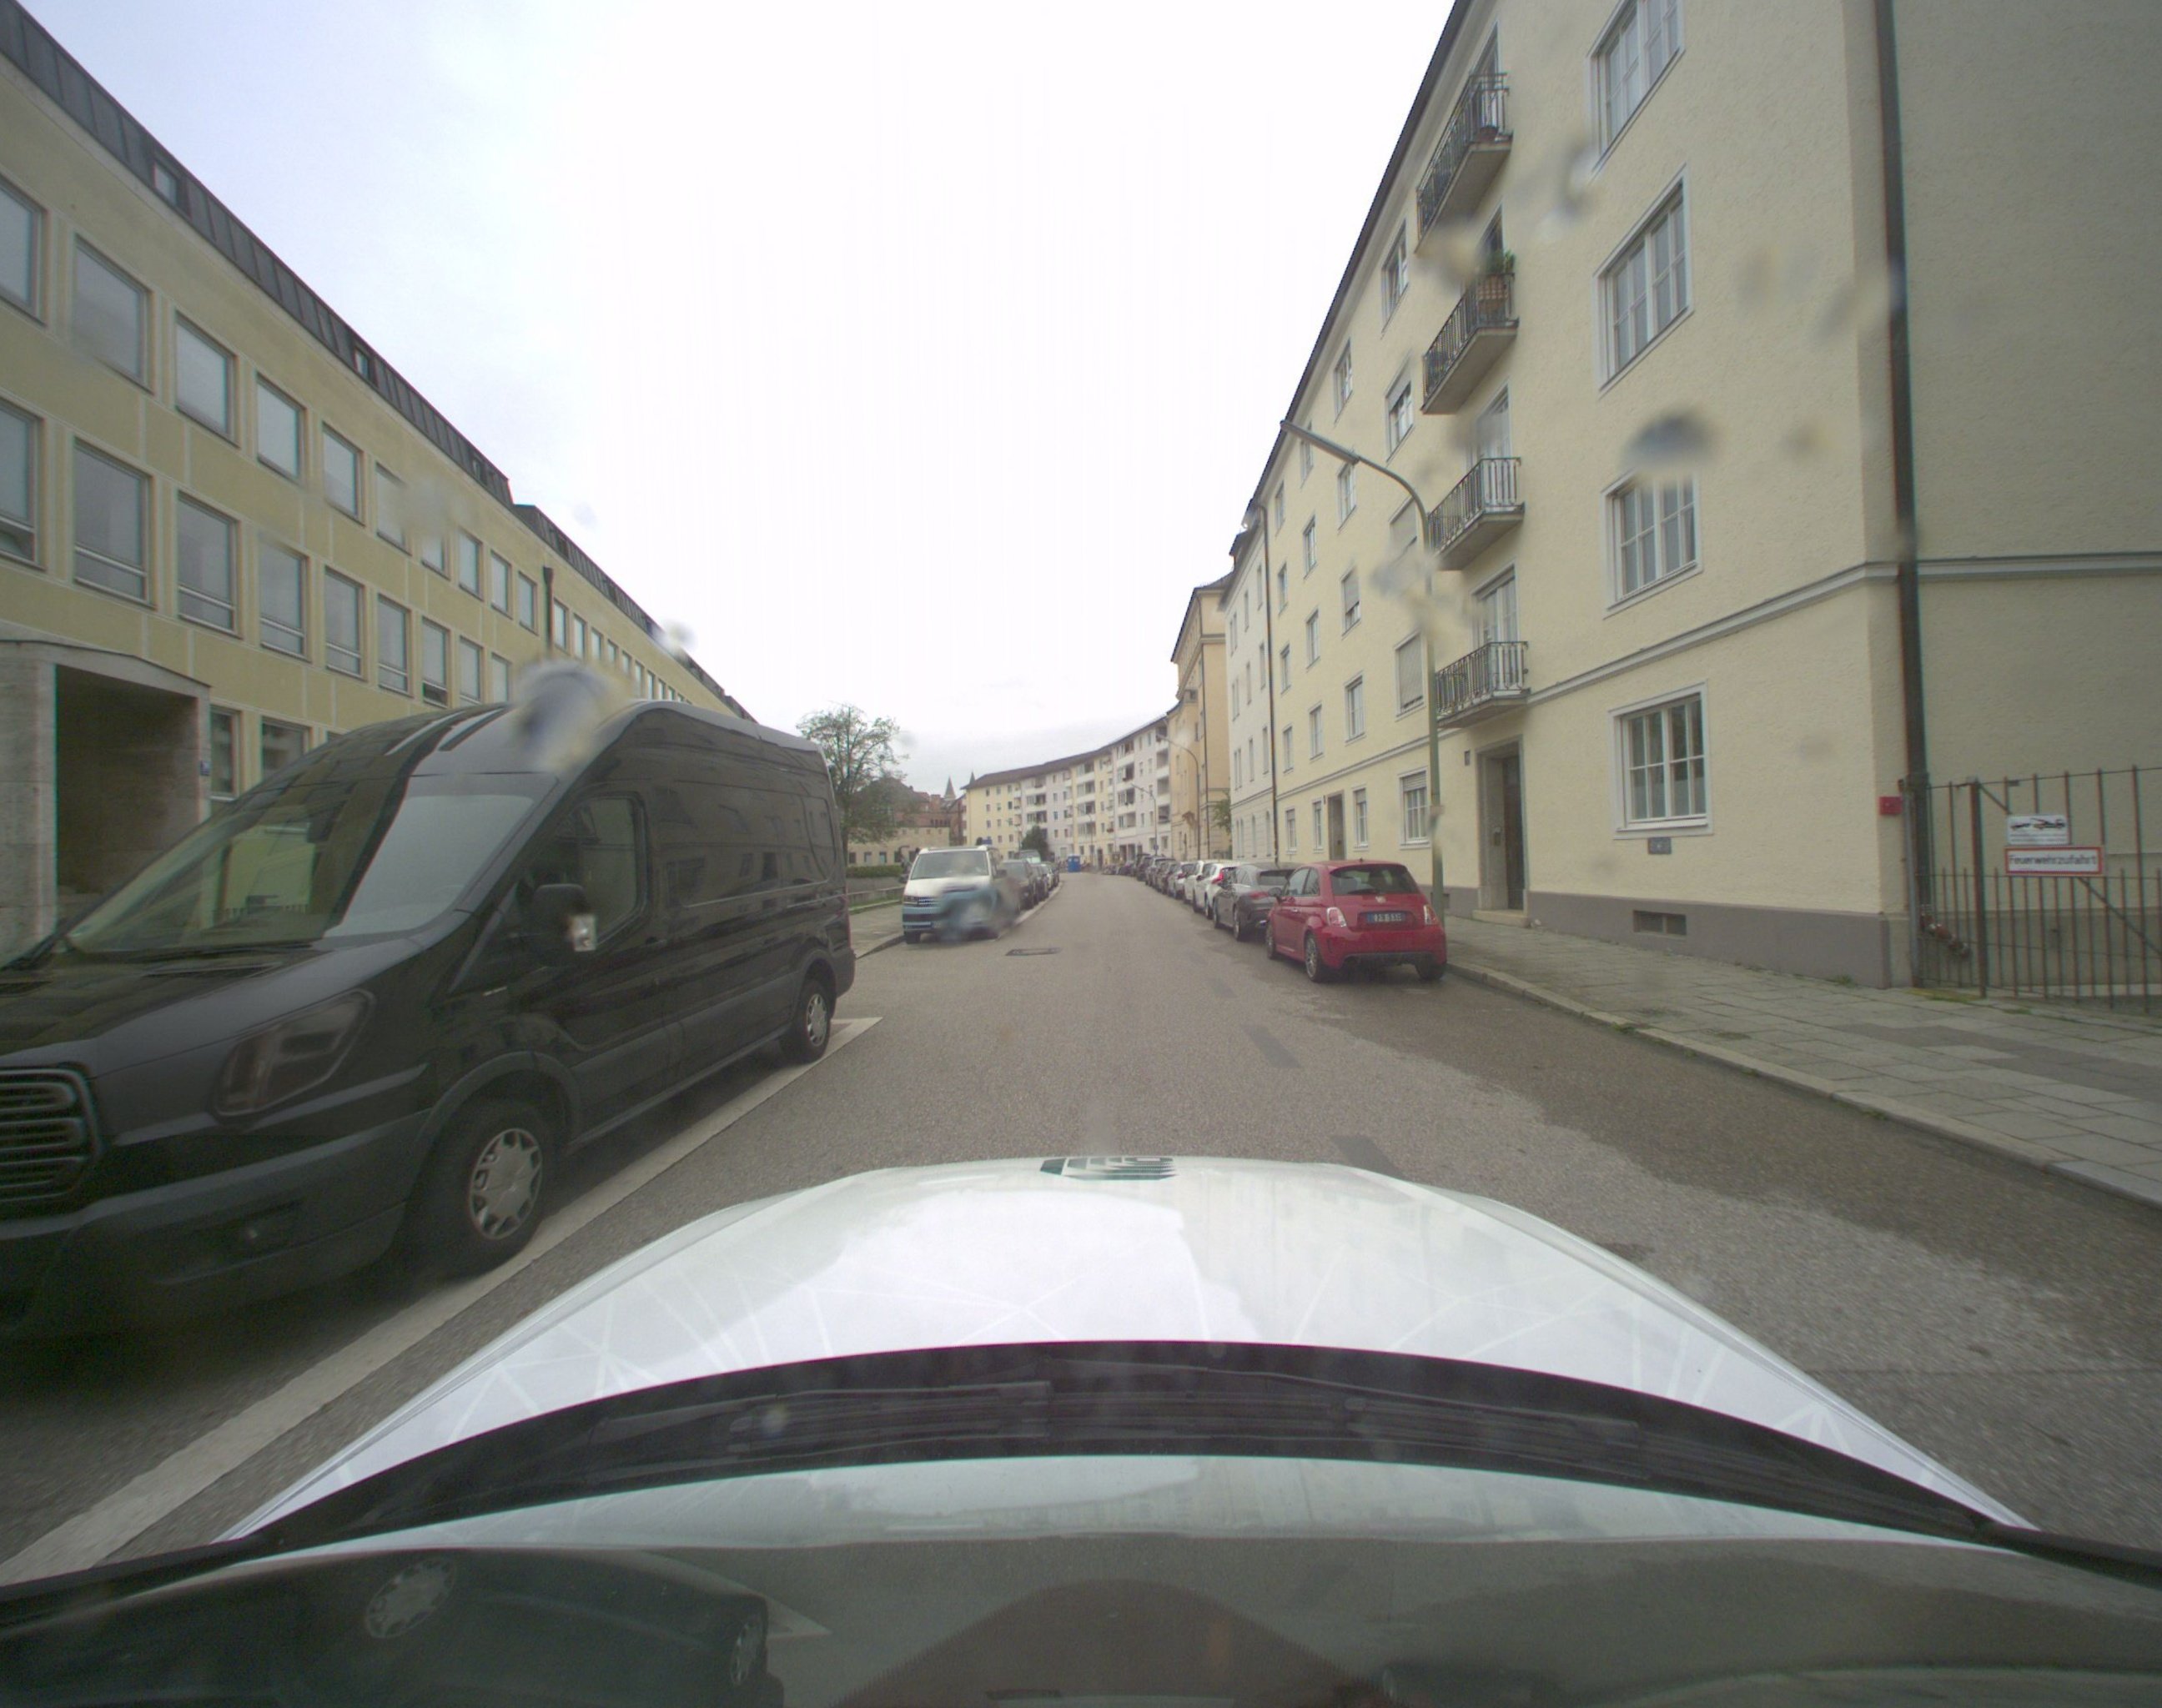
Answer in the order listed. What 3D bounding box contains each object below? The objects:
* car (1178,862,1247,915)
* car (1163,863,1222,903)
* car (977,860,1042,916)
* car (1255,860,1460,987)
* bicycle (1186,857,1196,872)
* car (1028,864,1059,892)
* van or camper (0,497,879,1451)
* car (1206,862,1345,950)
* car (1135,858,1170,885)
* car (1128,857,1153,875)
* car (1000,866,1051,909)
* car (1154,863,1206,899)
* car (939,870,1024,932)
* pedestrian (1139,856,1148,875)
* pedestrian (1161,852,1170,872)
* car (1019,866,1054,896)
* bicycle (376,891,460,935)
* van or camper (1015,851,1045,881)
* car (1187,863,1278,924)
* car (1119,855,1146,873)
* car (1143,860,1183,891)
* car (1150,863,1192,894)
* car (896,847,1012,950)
[{"bbox_3d":[4.295,1.084,27.112,1.646,1.543,3.992,0,0,-1],"label":"car"},{"bbox_3d":[4.349,1.086,32.187,1.719,1.450,4.186,-2,-1,0],"label":"car"},{"bbox_3d":[-2.406,1.119,28.384,1.708,1.689,4.142,-3,0,1],"label":"car"},{"bbox_3d":[3.628,0.826,11.388,1.649,1.429,3.756,0,0,1],"label":"car"},{"bbox_3d":[8.319,0.771,61.702,0.500,1.049,2.139,-4,0,3],"label":"bicycle"},{"bbox_3d":[-2.253,1.426,49.754,1.626,1.494,4.274,-3,0,-1],"label":"car"},{"bbox_3d":[-3.319,0.377,5.105,2.283,2.651,5.566,-3,0,3],"label":"van or camper"},{"bbox_3d":[3.707,0.922,16.367,1.767,1.429,4.616,0,0,1],"label":"car"},{"bbox_3d":[4.965,1.198,57.258,2.162,1.739,5.026,0,0,1],"label":"car"},{"bbox_3d":[4.892,0.974,67.349,1.626,1.417,3.677,0,0,-2],"label":"car"},{"bbox_3d":[-2.210,1.330,33.420,1.625,1.494,3.821,-3,0,1],"label":"car"},{"bbox_3d":[4.417,1.174,36.975,1.869,1.450,4.678,0,0,1],"label":"car"},{"bbox_3d":[-2.717,1.264,23.041,1.798,1.406,3.710,-3,0,1],"label":"car"},{"bbox_3d":[5.030,0.917,65.561,0.626,1.528,0.578,0,0,0],"label":"pedestrian"},{"bbox_3d":[7.440,0.688,71.973,0.615,1.690,0.919,-4,-1,1],"label":"pedestrian"},{"bbox_3d":[-2.400,1.433,44.421,1.736,1.422,4.292,-1,0,-1],"label":"car"},{"bbox_3d":[-15.194,1.344,18.699,1.415,0.945,0.410,0,0,-28],"label":"bicycle"},{"bbox_3d":[-4.785,1.125,74.883,2.295,2.581,6.069,-1,-1,-8],"label":"van or camper"},{"bbox_3d":[3.987,0.996,22.111,1.719,1.429,4.294,0,0,1],"label":"car"},{"bbox_3d":[4.645,0.865,73.746,1.904,1.477,4.941,0,0,-3],"label":"car"},{"bbox_3d":[4.690,1.183,46.994,1.840,1.663,4.497,0,0,0],"label":"car"},{"bbox_3d":[4.587,1.208,42.131,1.821,1.450,4.085,0,0,1],"label":"car"},{"bbox_3d":[-2.655,0.840,18.169,1.910,1.960,4.958,-1,0,-2],"label":"car"}]
